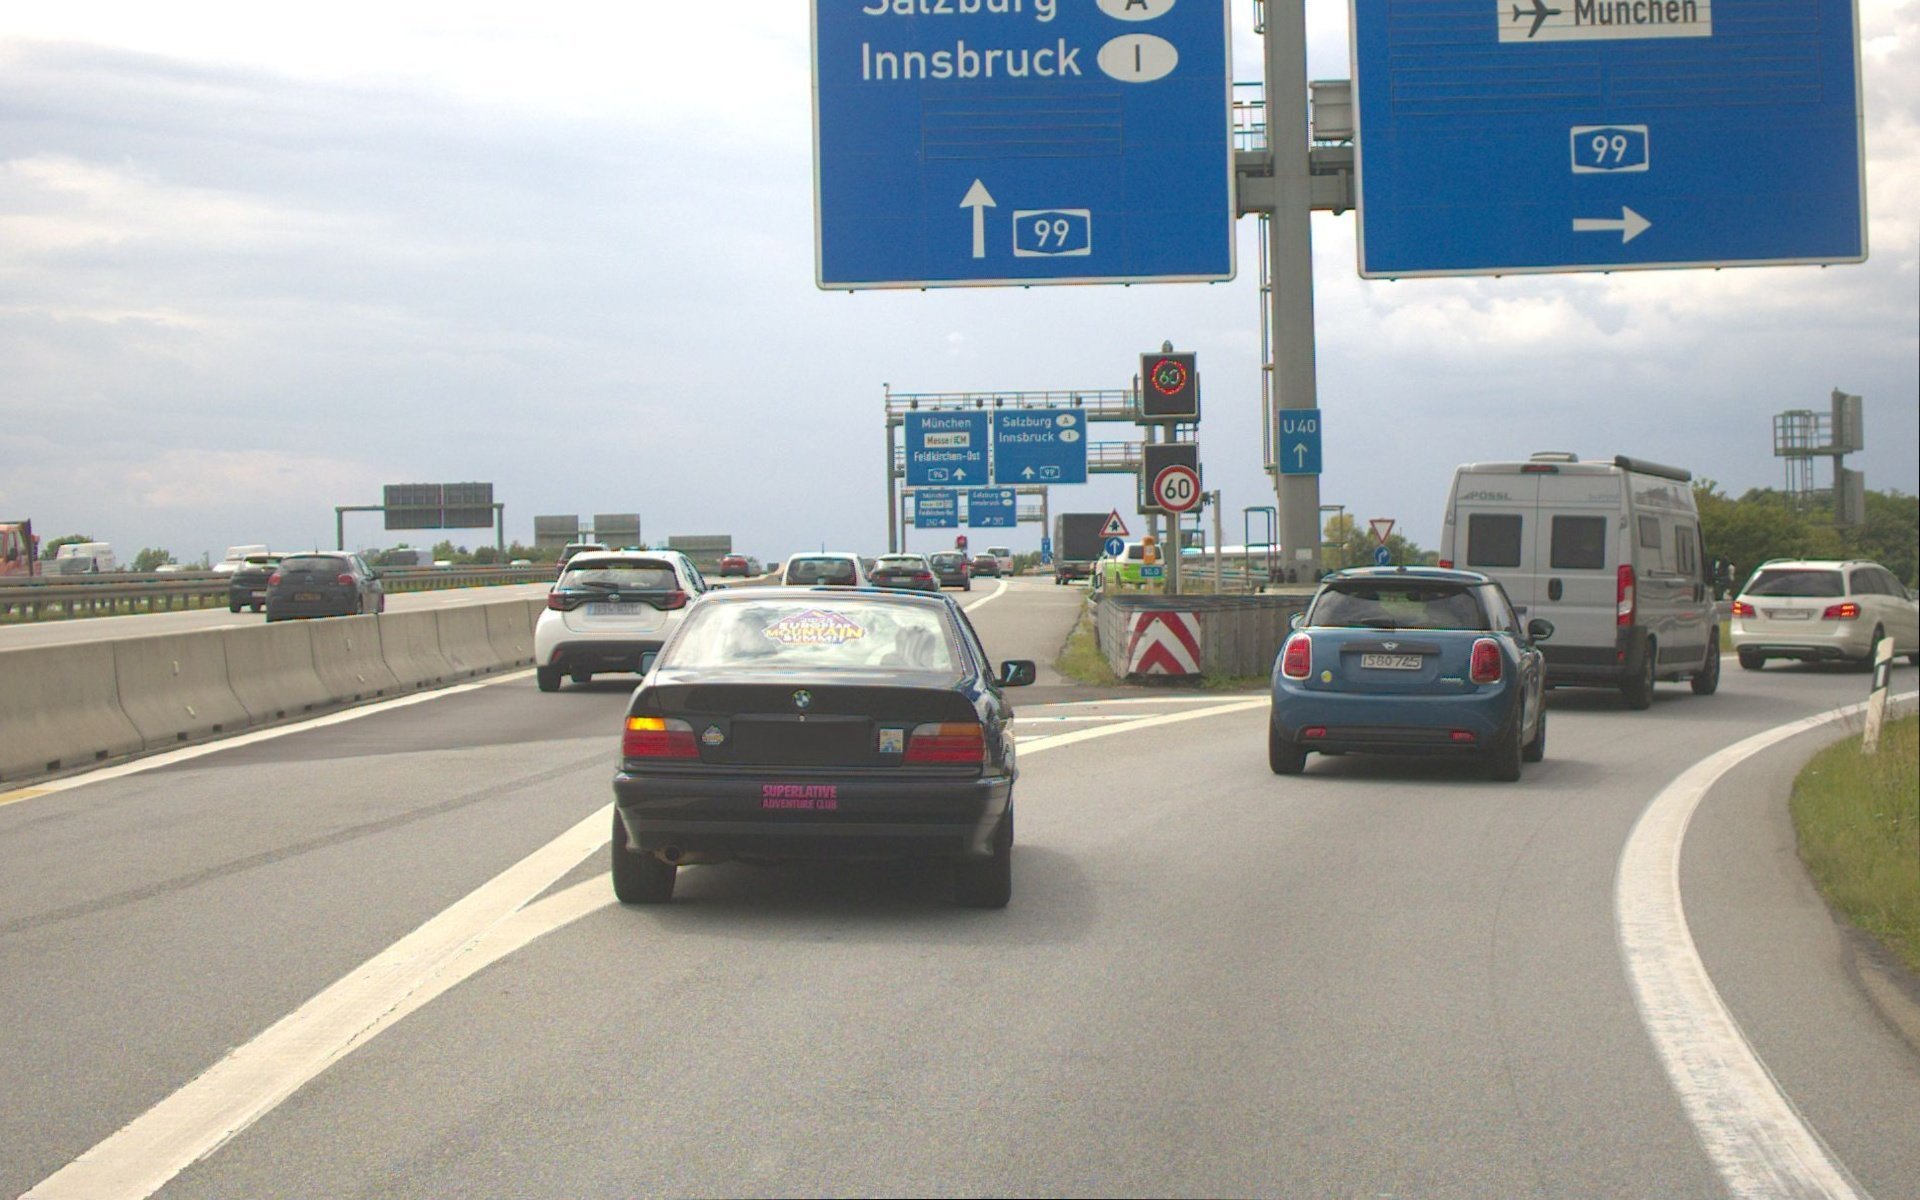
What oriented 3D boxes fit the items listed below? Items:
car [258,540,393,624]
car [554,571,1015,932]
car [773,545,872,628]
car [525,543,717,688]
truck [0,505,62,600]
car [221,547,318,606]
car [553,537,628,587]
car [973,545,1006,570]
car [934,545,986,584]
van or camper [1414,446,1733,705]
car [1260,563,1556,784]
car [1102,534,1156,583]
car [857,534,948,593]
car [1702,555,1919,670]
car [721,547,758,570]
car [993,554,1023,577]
[{"bbox_3d":[-11.857,-0.363,64.478,1.774,1.525,4.000,0,1,0],"label":"car"},{"bbox_3d":[-0.651,0.574,15.478,1.782,1.373,4.137,0,1,1],"label":"car"},{"bbox_3d":[-2.487,-0.269,62.874,1.585,1.478,3.535,0,1,1],"label":"car"},{"bbox_3d":[-3.656,0.125,37.601,1.701,1.503,3.840,0,1,0],"label":"car"},{"bbox_3d":[-25.037,-1.242,88.476,2.276,2.362,6.201,0,1,-1],"label":"truck"},{"bbox_3d":[-16.501,-0.574,82.294,1.552,1.371,4.000,0,1,0],"label":"car"},{"bbox_3d":[-12.723,-1.327,118.548,1.993,1.678,4.866,0,1,1],"label":"car"},{"bbox_3d":[1.751,-2.507,201.593,1.803,1.419,4.000,0,1,2],"label":"car"},{"bbox_3d":[0.020,-1.319,128.230,1.866,1.419,4.000,0,1,1],"label":"car"},{"bbox_3d":[6.761,-0.294,37.238,2.296,2.559,6.154,0,1,21],"label":"van or camper"},{"bbox_3d":[3.283,0.466,24.677,1.730,1.414,3.664,1,1,13],"label":"car"},{"bbox_3d":[7.079,-1.742,144.420,1.993,2.007,4.000,0,1,-1],"label":"car"},{"bbox_3d":[-1.439,-0.946,88.090,1.994,1.463,4.000,0,1,4],"label":"car"},{"bbox_3d":[11.954,0.130,47.063,2.210,1.496,4.779,0,1,29],"label":"car"},{"bbox_3d":[-14.375,-2.732,224.078,1.993,1.463,4.000,0,1,2],"label":"car"},{"bbox_3d":[3.130,-2.240,222.633,1.803,1.419,4.000,0,1,2],"label":"car"}]
